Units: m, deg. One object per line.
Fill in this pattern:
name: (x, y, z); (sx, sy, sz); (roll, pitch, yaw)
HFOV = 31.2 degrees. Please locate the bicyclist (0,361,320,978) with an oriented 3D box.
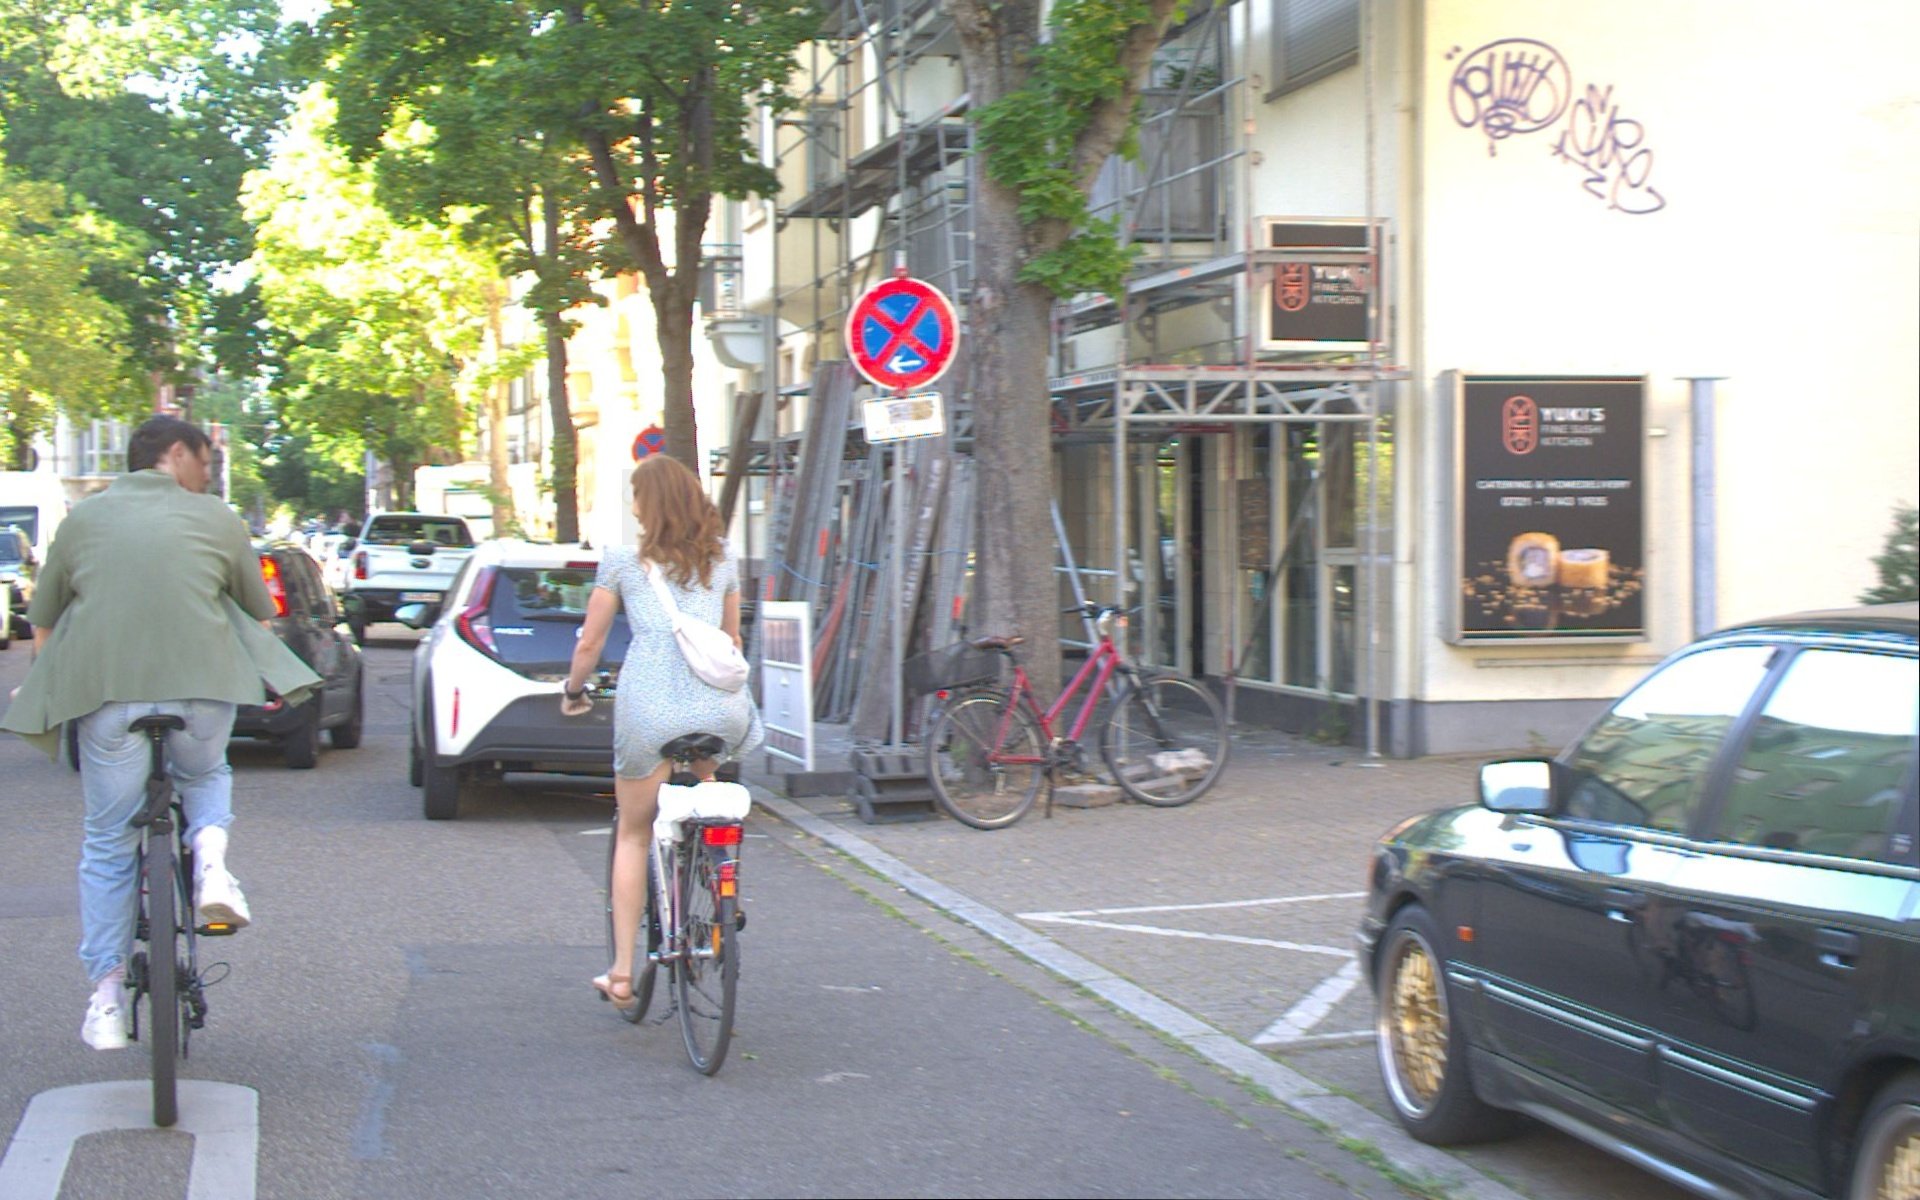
bicyclist: (-2.183, 0.185, 9.158); (0.881, 1.556, 0.868); (-1, -2, -8)

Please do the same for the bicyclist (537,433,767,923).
bicyclist: (-0.914, 0.239, 10.175); (0.623, 1.376, 0.868); (-1, -3, -6)

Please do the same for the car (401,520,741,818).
car: (-2.315, 0.341, 19.795); (1.674, 1.540, 3.404); (1, 1, -11)

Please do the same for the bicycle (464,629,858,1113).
bicycle: (-0.952, 0.740, 10.265); (0.839, 1.145, 2.234); (3, 2, -12)

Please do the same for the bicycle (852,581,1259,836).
bicycle: (0.508, 0.535, 17.939); (1.980, 1.161, 0.727); (-4, 3, -28)

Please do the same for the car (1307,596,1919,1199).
car: (2.204, 0.719, 7.322); (1.708, 1.383, 4.571); (0, 1, -10)

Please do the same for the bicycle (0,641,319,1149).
bicycle: (-2.202, 0.723, 9.413); (0.839, 1.145, 2.233); (-1, 1, -11)

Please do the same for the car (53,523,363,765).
car: (-5.070, 0.239, 23.551); (1.556, 1.527, 3.487); (0, 1, -4)
